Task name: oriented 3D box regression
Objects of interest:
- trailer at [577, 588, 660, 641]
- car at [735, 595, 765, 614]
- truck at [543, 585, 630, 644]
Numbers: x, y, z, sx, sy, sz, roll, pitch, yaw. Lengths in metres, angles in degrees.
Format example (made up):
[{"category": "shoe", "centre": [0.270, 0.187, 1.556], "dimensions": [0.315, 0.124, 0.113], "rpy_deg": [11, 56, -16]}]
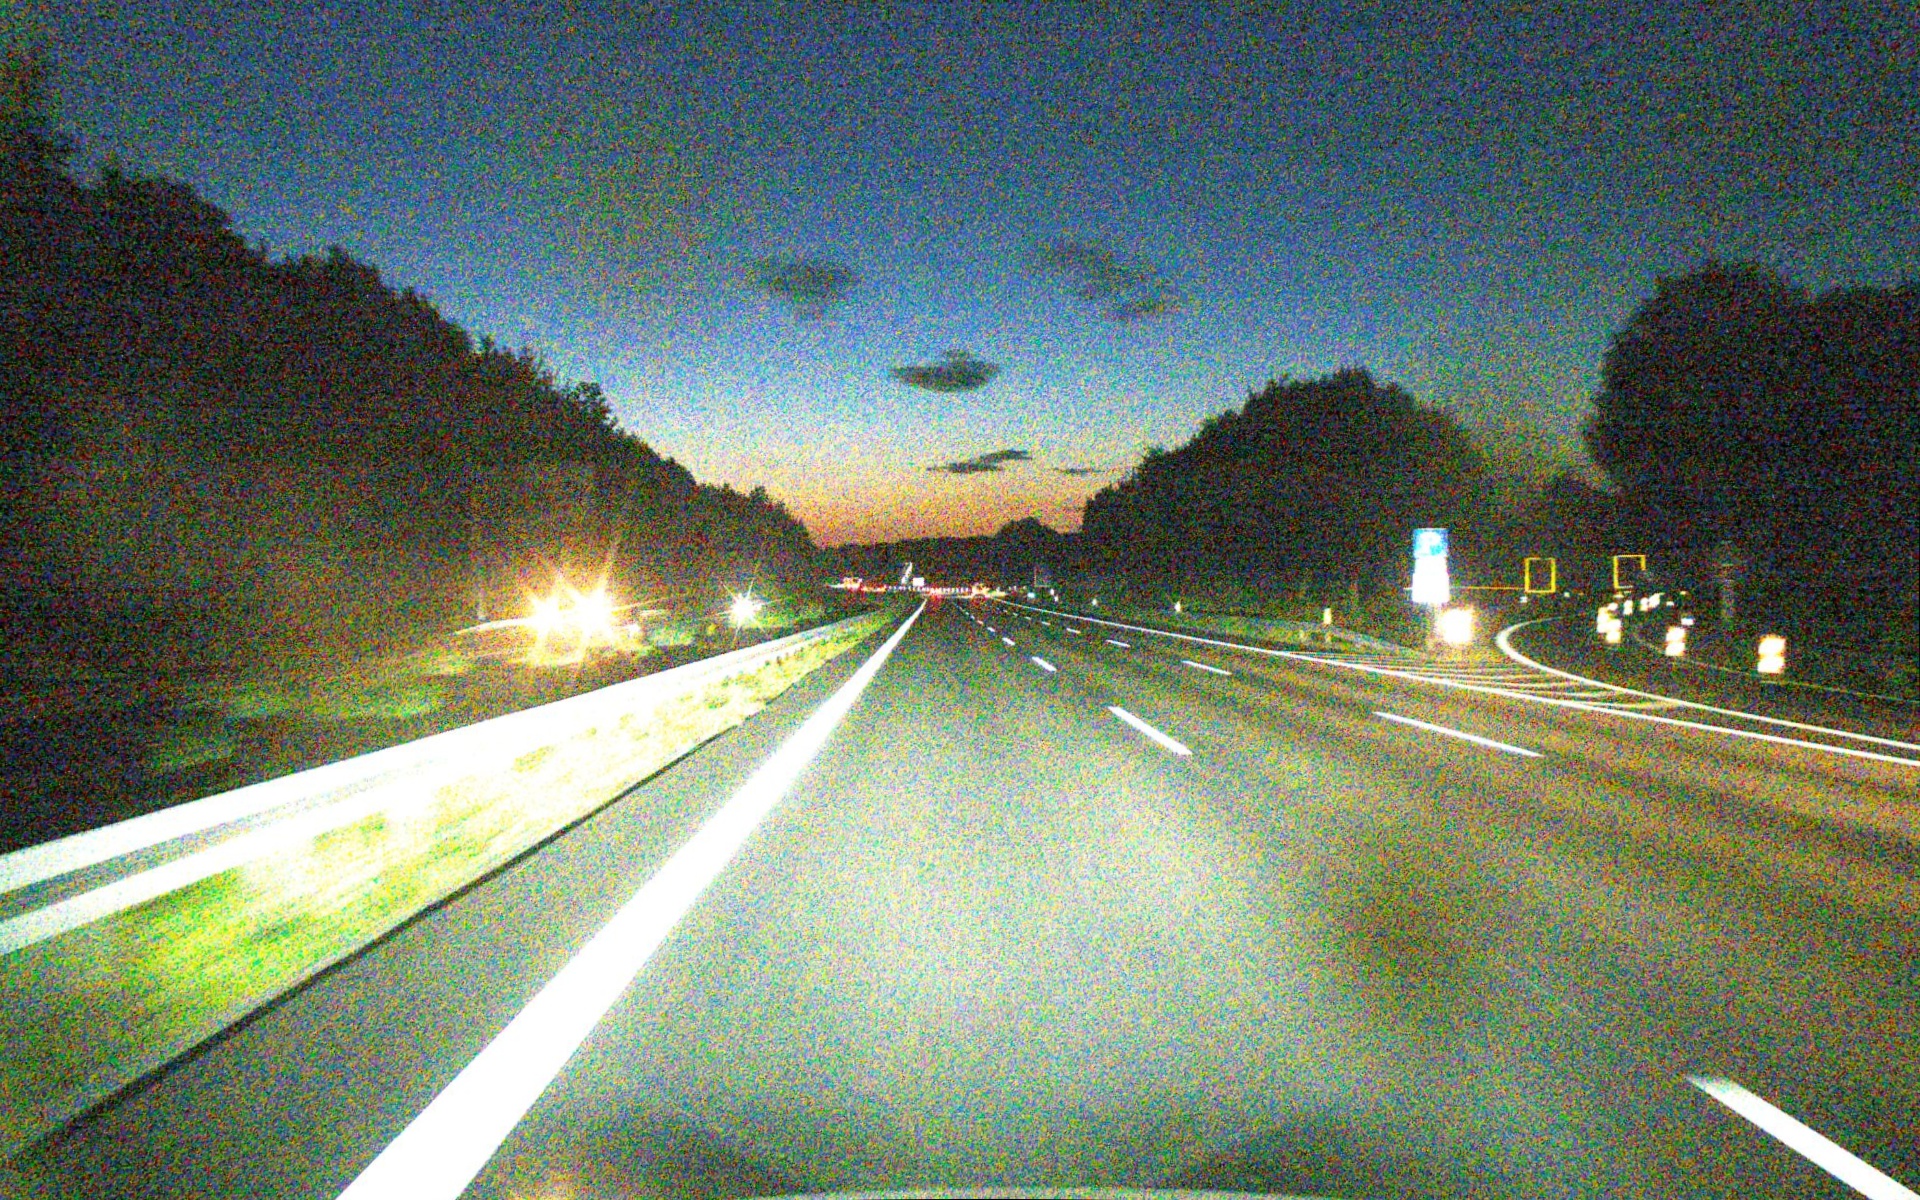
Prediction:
[{"category": "trailer", "centre": [-13.491, 0.532, 65.804], "dimensions": [1.953, 1.974, 6.621], "rpy_deg": [-1, 0, 0]}, {"category": "car", "centre": [-18.096, 0.381, 142.757], "dimensions": [1.953, 1.530, 5.200], "rpy_deg": [-2, 0, -1]}, {"category": "truck", "centre": [-13.450, 0.520, 59.873], "dimensions": [1.953, 1.976, 5.240], "rpy_deg": [-1, 0, 0]}]
